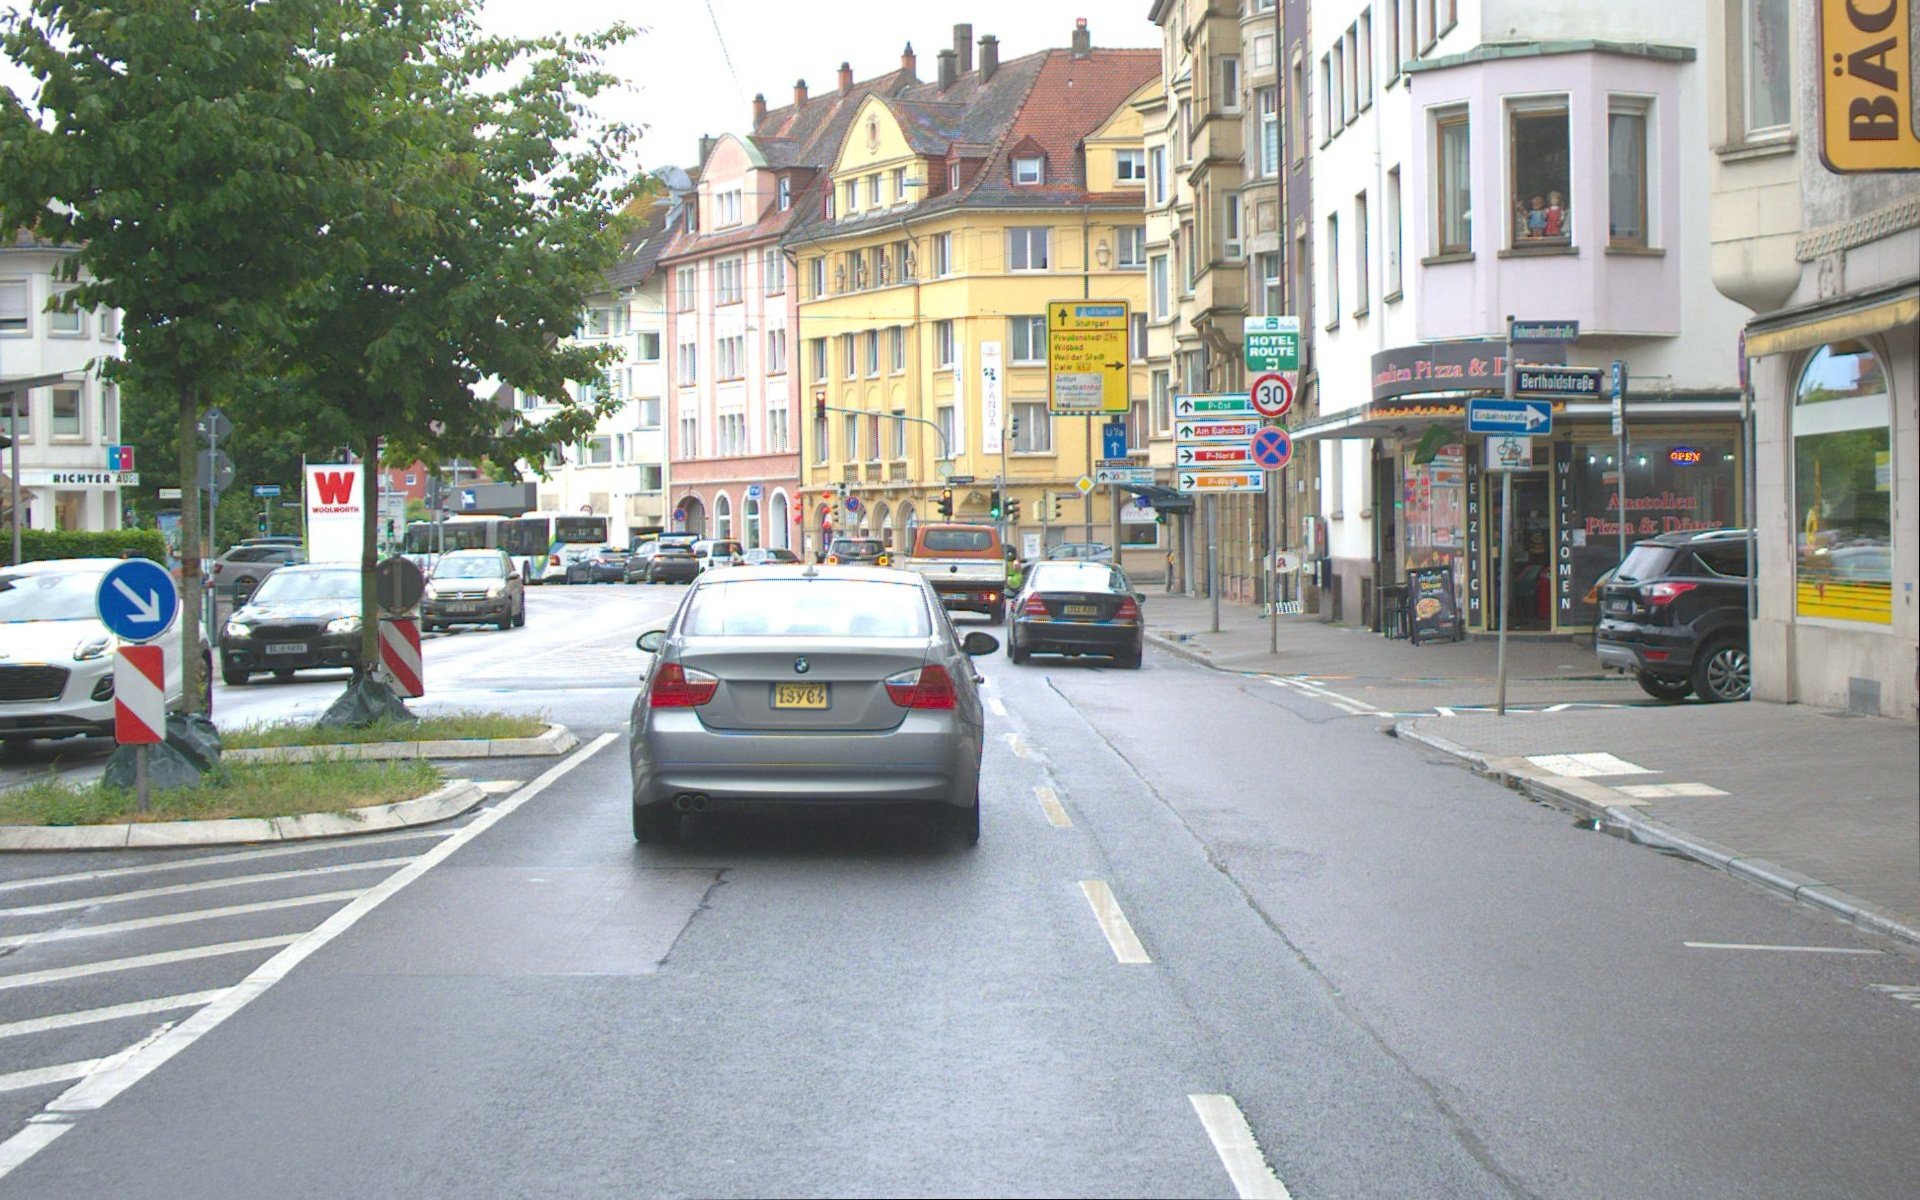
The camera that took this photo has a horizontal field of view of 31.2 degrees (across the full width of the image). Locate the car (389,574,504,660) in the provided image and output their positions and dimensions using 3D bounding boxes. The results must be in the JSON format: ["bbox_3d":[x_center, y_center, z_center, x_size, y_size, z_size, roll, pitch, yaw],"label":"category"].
[{"bbox_3d":[-10.533,0.328,70.349,1.947,1.653,4.058,-1,1,-14],"label":"car"}]

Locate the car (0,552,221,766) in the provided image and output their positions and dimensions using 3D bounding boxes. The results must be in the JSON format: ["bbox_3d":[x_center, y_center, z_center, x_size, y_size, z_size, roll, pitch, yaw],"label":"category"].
[{"bbox_3d":[-7.294,0.425,27.908,1.819,1.563,4.090,-1,1,-2],"label":"car"}]

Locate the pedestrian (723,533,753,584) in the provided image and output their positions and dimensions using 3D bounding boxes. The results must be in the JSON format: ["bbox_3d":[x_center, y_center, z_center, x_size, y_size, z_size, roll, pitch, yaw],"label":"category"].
[{"bbox_3d":[-6.696,-1.243,103.610,0.760,1.524,0.508,1,0,-21],"label":"pedestrian"}]

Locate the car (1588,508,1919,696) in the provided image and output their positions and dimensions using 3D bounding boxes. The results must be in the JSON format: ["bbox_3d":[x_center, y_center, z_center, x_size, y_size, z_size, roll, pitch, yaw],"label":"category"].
[{"bbox_3d":[8.261,-0.001,33.304,4.139,1.766,1.873,0,1,6],"label":"car"}]

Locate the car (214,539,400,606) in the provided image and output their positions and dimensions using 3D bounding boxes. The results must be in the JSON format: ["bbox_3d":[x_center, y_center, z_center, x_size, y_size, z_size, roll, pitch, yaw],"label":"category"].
[{"bbox_3d":[-16.522,-0.696,87.129,4.444,1.521,1.886,2,1,-6],"label":"car"}]

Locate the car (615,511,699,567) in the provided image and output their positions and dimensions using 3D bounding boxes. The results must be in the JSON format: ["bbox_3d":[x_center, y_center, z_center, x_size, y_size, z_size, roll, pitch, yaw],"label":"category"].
[{"bbox_3d":[-11.160,-2.230,126.311,1.993,2.007,4.001,-1,1,-22],"label":"car"}]

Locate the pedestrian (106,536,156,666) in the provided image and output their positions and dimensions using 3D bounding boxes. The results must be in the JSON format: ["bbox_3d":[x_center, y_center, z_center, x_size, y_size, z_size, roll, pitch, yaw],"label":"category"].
[{"bbox_3d":[-11.313,0.004,46.937,0.574,1.756,0.581,-1,1,-7],"label":"pedestrian"}]

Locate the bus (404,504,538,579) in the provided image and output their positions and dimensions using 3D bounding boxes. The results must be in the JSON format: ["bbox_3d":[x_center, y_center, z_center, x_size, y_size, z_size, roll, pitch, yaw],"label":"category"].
[{"bbox_3d":[-21.103,-2.508,147.910,2.908,3.094,8.873,-2,1,-27],"label":"bus"}]

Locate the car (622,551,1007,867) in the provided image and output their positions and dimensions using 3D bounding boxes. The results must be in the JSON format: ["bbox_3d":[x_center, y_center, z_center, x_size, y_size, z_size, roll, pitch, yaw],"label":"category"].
[{"bbox_3d":[-0.767,0.486,18.390,1.799,1.459,4.371,1,1,-2],"label":"car"}]

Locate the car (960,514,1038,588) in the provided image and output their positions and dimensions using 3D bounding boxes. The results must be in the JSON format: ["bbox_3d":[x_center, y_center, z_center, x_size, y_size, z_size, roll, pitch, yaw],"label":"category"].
[{"bbox_3d":[1.078,-1.373,96.201,1.993,2.007,4.000,0,1,-2],"label":"car"}]

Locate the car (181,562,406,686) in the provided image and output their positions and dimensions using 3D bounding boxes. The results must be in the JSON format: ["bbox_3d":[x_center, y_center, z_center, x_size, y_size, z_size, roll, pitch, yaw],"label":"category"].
[{"bbox_3d":[-8.266,0.257,43.036,2.013,1.421,4.500,1,1,-1],"label":"car"}]

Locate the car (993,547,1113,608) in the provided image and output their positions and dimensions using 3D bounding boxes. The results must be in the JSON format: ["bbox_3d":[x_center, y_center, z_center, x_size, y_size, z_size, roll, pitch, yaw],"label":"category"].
[{"bbox_3d":[3.315,-0.812,122.361,3.988,2.007,1.999,2,0,8],"label":"car"}]

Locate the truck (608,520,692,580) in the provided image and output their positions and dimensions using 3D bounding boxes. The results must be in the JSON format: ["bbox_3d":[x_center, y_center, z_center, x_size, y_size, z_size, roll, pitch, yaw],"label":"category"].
[{"bbox_3d":[-13.163,-2.134,145.779,2.026,2.381,4.238,2,1,-26],"label":"truck"}]

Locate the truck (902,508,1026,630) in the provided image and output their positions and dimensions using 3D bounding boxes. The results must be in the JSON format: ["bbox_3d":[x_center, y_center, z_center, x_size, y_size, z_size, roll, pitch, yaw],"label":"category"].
[{"bbox_3d":[0.030,-0.620,65.875,2.224,2.242,5.063,0,1,-1],"label":"truck"}]

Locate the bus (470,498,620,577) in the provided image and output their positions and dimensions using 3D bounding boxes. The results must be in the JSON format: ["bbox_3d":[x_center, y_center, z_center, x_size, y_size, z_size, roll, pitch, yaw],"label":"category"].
[{"bbox_3d":[-16.965,-2.525,139.928,2.908,3.094,9.144,-2,1,-28],"label":"bus"}]

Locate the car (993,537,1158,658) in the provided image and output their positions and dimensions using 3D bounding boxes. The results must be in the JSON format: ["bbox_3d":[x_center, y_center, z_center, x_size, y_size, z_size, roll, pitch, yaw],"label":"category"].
[{"bbox_3d":[1.499,-0.039,46.076,1.799,1.558,4.001,0,0,-4],"label":"car"}]

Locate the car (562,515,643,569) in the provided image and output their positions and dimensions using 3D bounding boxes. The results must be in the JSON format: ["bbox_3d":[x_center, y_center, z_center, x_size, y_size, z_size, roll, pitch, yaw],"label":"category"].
[{"bbox_3d":[-13.755,-2.233,132.095,1.993,2.007,4.001,-1,1,-22],"label":"car"}]

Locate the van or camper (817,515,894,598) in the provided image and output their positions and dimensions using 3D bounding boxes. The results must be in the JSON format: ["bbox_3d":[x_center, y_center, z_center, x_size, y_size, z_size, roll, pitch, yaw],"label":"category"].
[{"bbox_3d":[-2.804,-1.158,91.371,1.854,2.139,4.143,1,1,-4],"label":"van or camper"}]

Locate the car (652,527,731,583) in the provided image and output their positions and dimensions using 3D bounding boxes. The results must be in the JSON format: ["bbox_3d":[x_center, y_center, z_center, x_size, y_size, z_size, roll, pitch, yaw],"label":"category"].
[{"bbox_3d":[-10.967,-1.851,140.283,1.761,2.173,4.001,3,0,-26],"label":"car"}]
